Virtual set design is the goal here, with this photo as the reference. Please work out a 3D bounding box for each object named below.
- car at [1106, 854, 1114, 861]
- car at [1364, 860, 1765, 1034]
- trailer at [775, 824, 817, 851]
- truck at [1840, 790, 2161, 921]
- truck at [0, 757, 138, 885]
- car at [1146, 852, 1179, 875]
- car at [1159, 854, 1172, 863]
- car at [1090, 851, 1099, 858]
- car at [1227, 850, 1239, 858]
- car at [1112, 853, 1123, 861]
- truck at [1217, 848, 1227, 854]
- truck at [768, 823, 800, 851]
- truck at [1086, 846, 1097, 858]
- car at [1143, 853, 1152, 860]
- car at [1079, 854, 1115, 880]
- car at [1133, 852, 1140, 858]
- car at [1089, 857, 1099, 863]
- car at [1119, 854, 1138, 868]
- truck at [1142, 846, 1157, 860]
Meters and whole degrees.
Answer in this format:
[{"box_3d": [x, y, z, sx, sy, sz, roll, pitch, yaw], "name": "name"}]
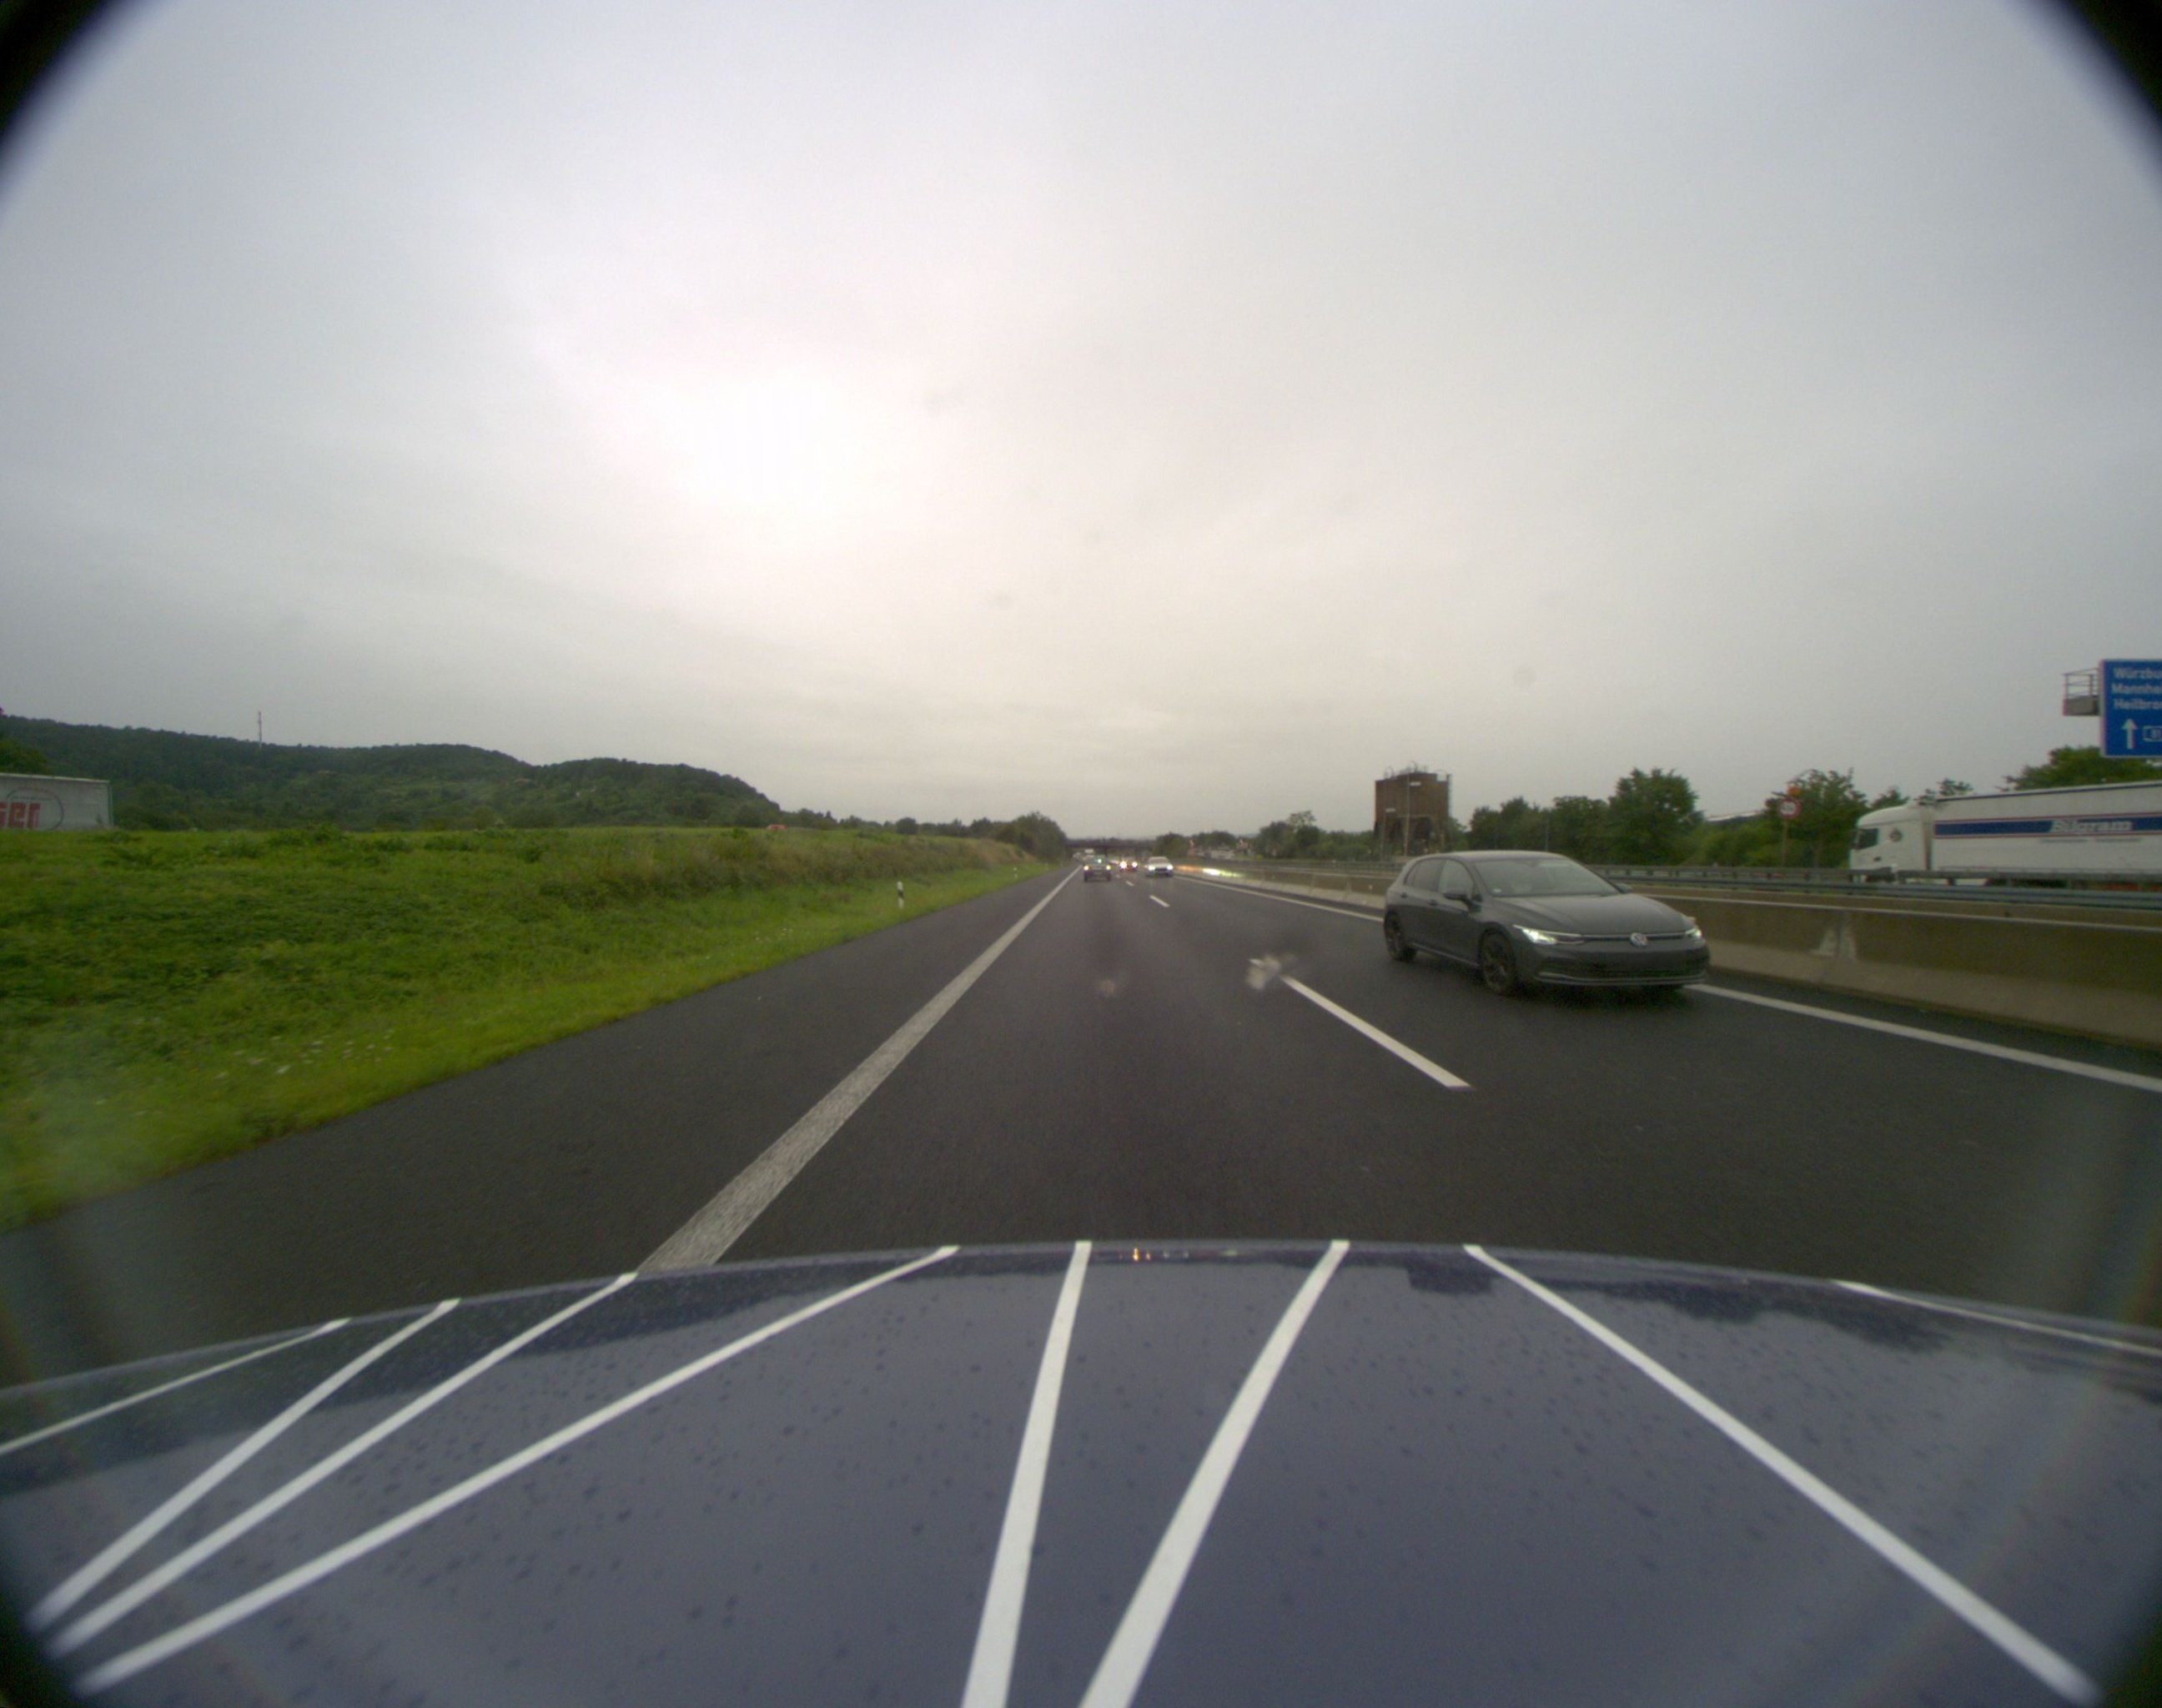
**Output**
[{"box_3d": [6.942, 0.734, 182.423, 1.998, 1.565, 4.000, -2, 0, 1], "name": "car"}, {"box_3d": [4.988, 0.818, 8.737, 1.835, 1.417, 4.368, -2, 0, 1], "name": "car"}, {"box_3d": [-44.639, -2.475, 119.393, 2.498, 3.961, 12.400, -2, 0, -4], "name": "trailer"}, {"box_3d": [32.994, 0.072, 22.997, 3.185, 3.786, 17.135, 1, 0, 1], "name": "truck"}, {"box_3d": [-39.611, -1.087, 22.265, 3.832, 4.514, 16.876, -1, 0, -5], "name": "truck"}, {"box_3d": [5.956, 0.659, 56.316, 1.998, 1.581, 4.817, -2, 0, 1], "name": "car"}, {"box_3d": [14.914, 0.773, 134.152, 1.860, 1.383, 4.445, -1, 0, 1], "name": "car"}, {"box_3d": [2.952, 0.071, 171.803, 1.942, 1.341, 4.000, -3, -1, 1], "name": "car"}, {"box_3d": [36.500, 0.033, 181.976, 1.998, 1.751, 4.505, -1, 0, 1], "name": "car"}, {"box_3d": [7.132, 0.631, 149.452, 1.942, 1.341, 4.000, -3, -1, 0], "name": "car"}, {"box_3d": [41.026, -0.964, 221.195, 1.999, 1.635, 5.405, -3, 0, -1], "name": "truck"}, {"box_3d": [-44.294, -2.462, 113.579, 2.515, 3.963, 5.926, -2, 0, -3], "name": "truck"}, {"box_3d": [3.092, -0.536, 222.518, 2.728, 3.098, 7.960, -3, 0, 1], "name": "truck"}, {"box_3d": [15.103, 0.544, 173.253, 1.802, 1.499, 4.000, 0, 0, 0], "name": "car"}, {"box_3d": [1.094, 0.828, 50.213, 2.242, 1.565, 4.817, -2, 0, 2], "name": "car"}, {"box_3d": [15.698, 0.295, 215.392, 1.717, 1.586, 4.000, -2, 0, 0], "name": "car"}, {"box_3d": [2.809, 1.296, 165.546, 1.942, 1.341, 4.000, -3, -1, 1], "name": "car"}, {"box_3d": [4.906, 0.716, 78.807, 1.835, 1.416, 4.368, -2, 0, 2], "name": "car"}, {"box_3d": [20.410, -0.380, 226.679, 2.976, 3.688, 11.912, -3, -1, 0], "name": "truck"}]
